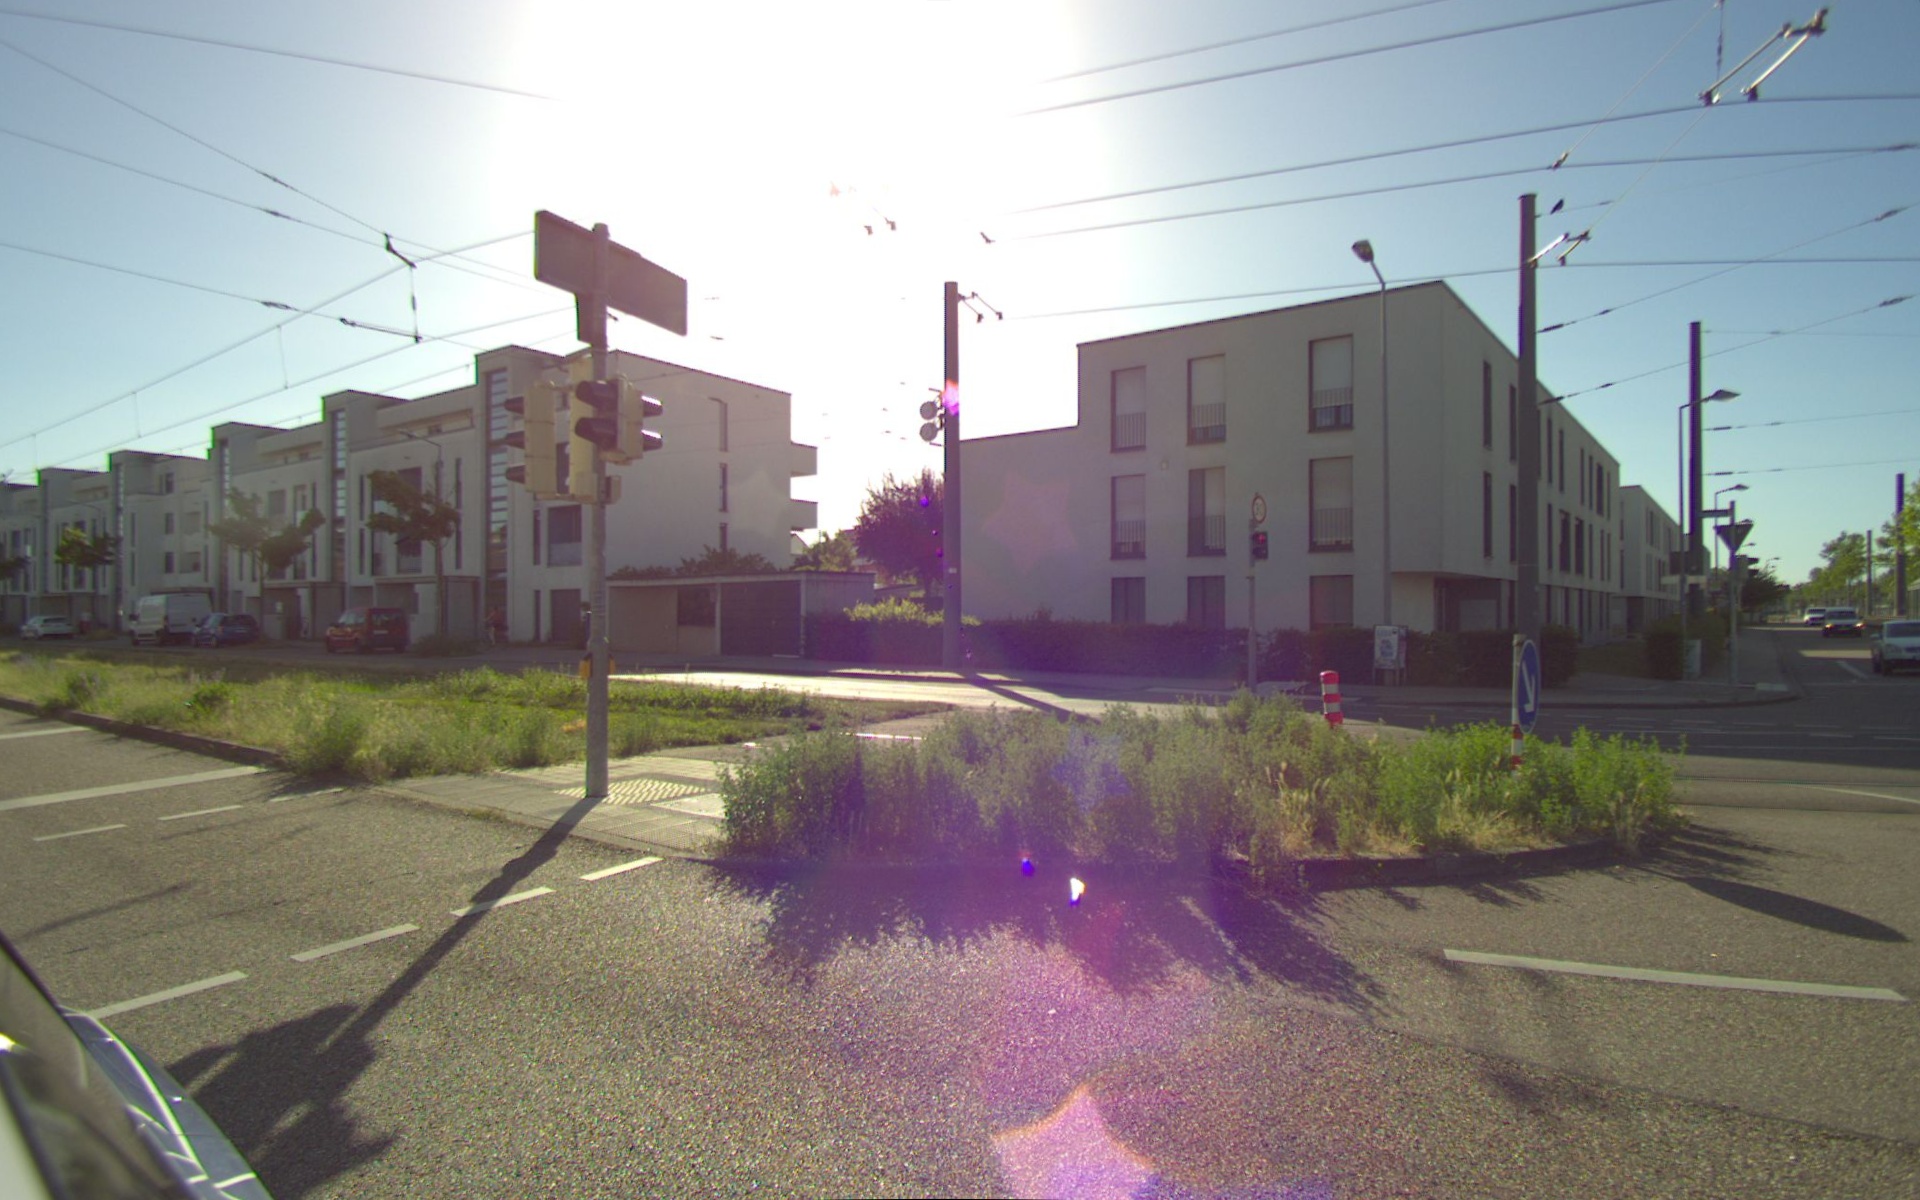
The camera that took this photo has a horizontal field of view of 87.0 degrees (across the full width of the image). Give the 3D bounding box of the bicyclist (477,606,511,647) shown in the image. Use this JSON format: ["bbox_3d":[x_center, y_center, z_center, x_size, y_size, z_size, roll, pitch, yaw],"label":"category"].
[{"bbox_3d":[-17.376,0.986,37.727,0.743,1.502,0.883,-1,-1,30],"label":"bicyclist"}]

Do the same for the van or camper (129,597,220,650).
[{"bbox_3d":[-38.992,1.151,50.208,5.249,2.483,2.172,-1,-1,36],"label":"van or camper"}]

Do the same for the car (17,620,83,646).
[{"bbox_3d":[-55.901,2.005,62.154,4.110,1.598,2.025,-1,-1,34],"label":"car"}]

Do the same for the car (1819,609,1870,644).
[{"bbox_3d":[53.547,1.583,61.325,1.997,2.029,3.950,-1,-1,37],"label":"car"}]

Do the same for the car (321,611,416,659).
[{"bbox_3d":[-22.559,1.305,38.558,3.902,1.736,1.772,-1,-2,37],"label":"car"}]

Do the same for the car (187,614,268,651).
[{"bbox_3d":[-33.650,1.487,46.484,3.828,1.625,1.912,-1,-1,36],"label":"car"}]

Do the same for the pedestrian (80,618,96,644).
[{"bbox_3d":[-56.095,2.000,65.106,0.610,1.655,0.613,-1,1,29],"label":"pedestrian"}]

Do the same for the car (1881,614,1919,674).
[{"bbox_3d":[28.242,1.230,29.234,2.006,1.678,3.950,-1,-1,37],"label":"car"}]

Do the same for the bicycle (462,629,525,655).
[{"bbox_3d":[-17.416,1.554,37.734,2.474,0.899,0.893,-1,-1,31],"label":"bicycle"}]

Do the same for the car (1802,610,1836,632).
[{"bbox_3d":[80.028,1.984,94.353,1.995,2.029,3.953,-1,-1,35],"label":"car"}]
